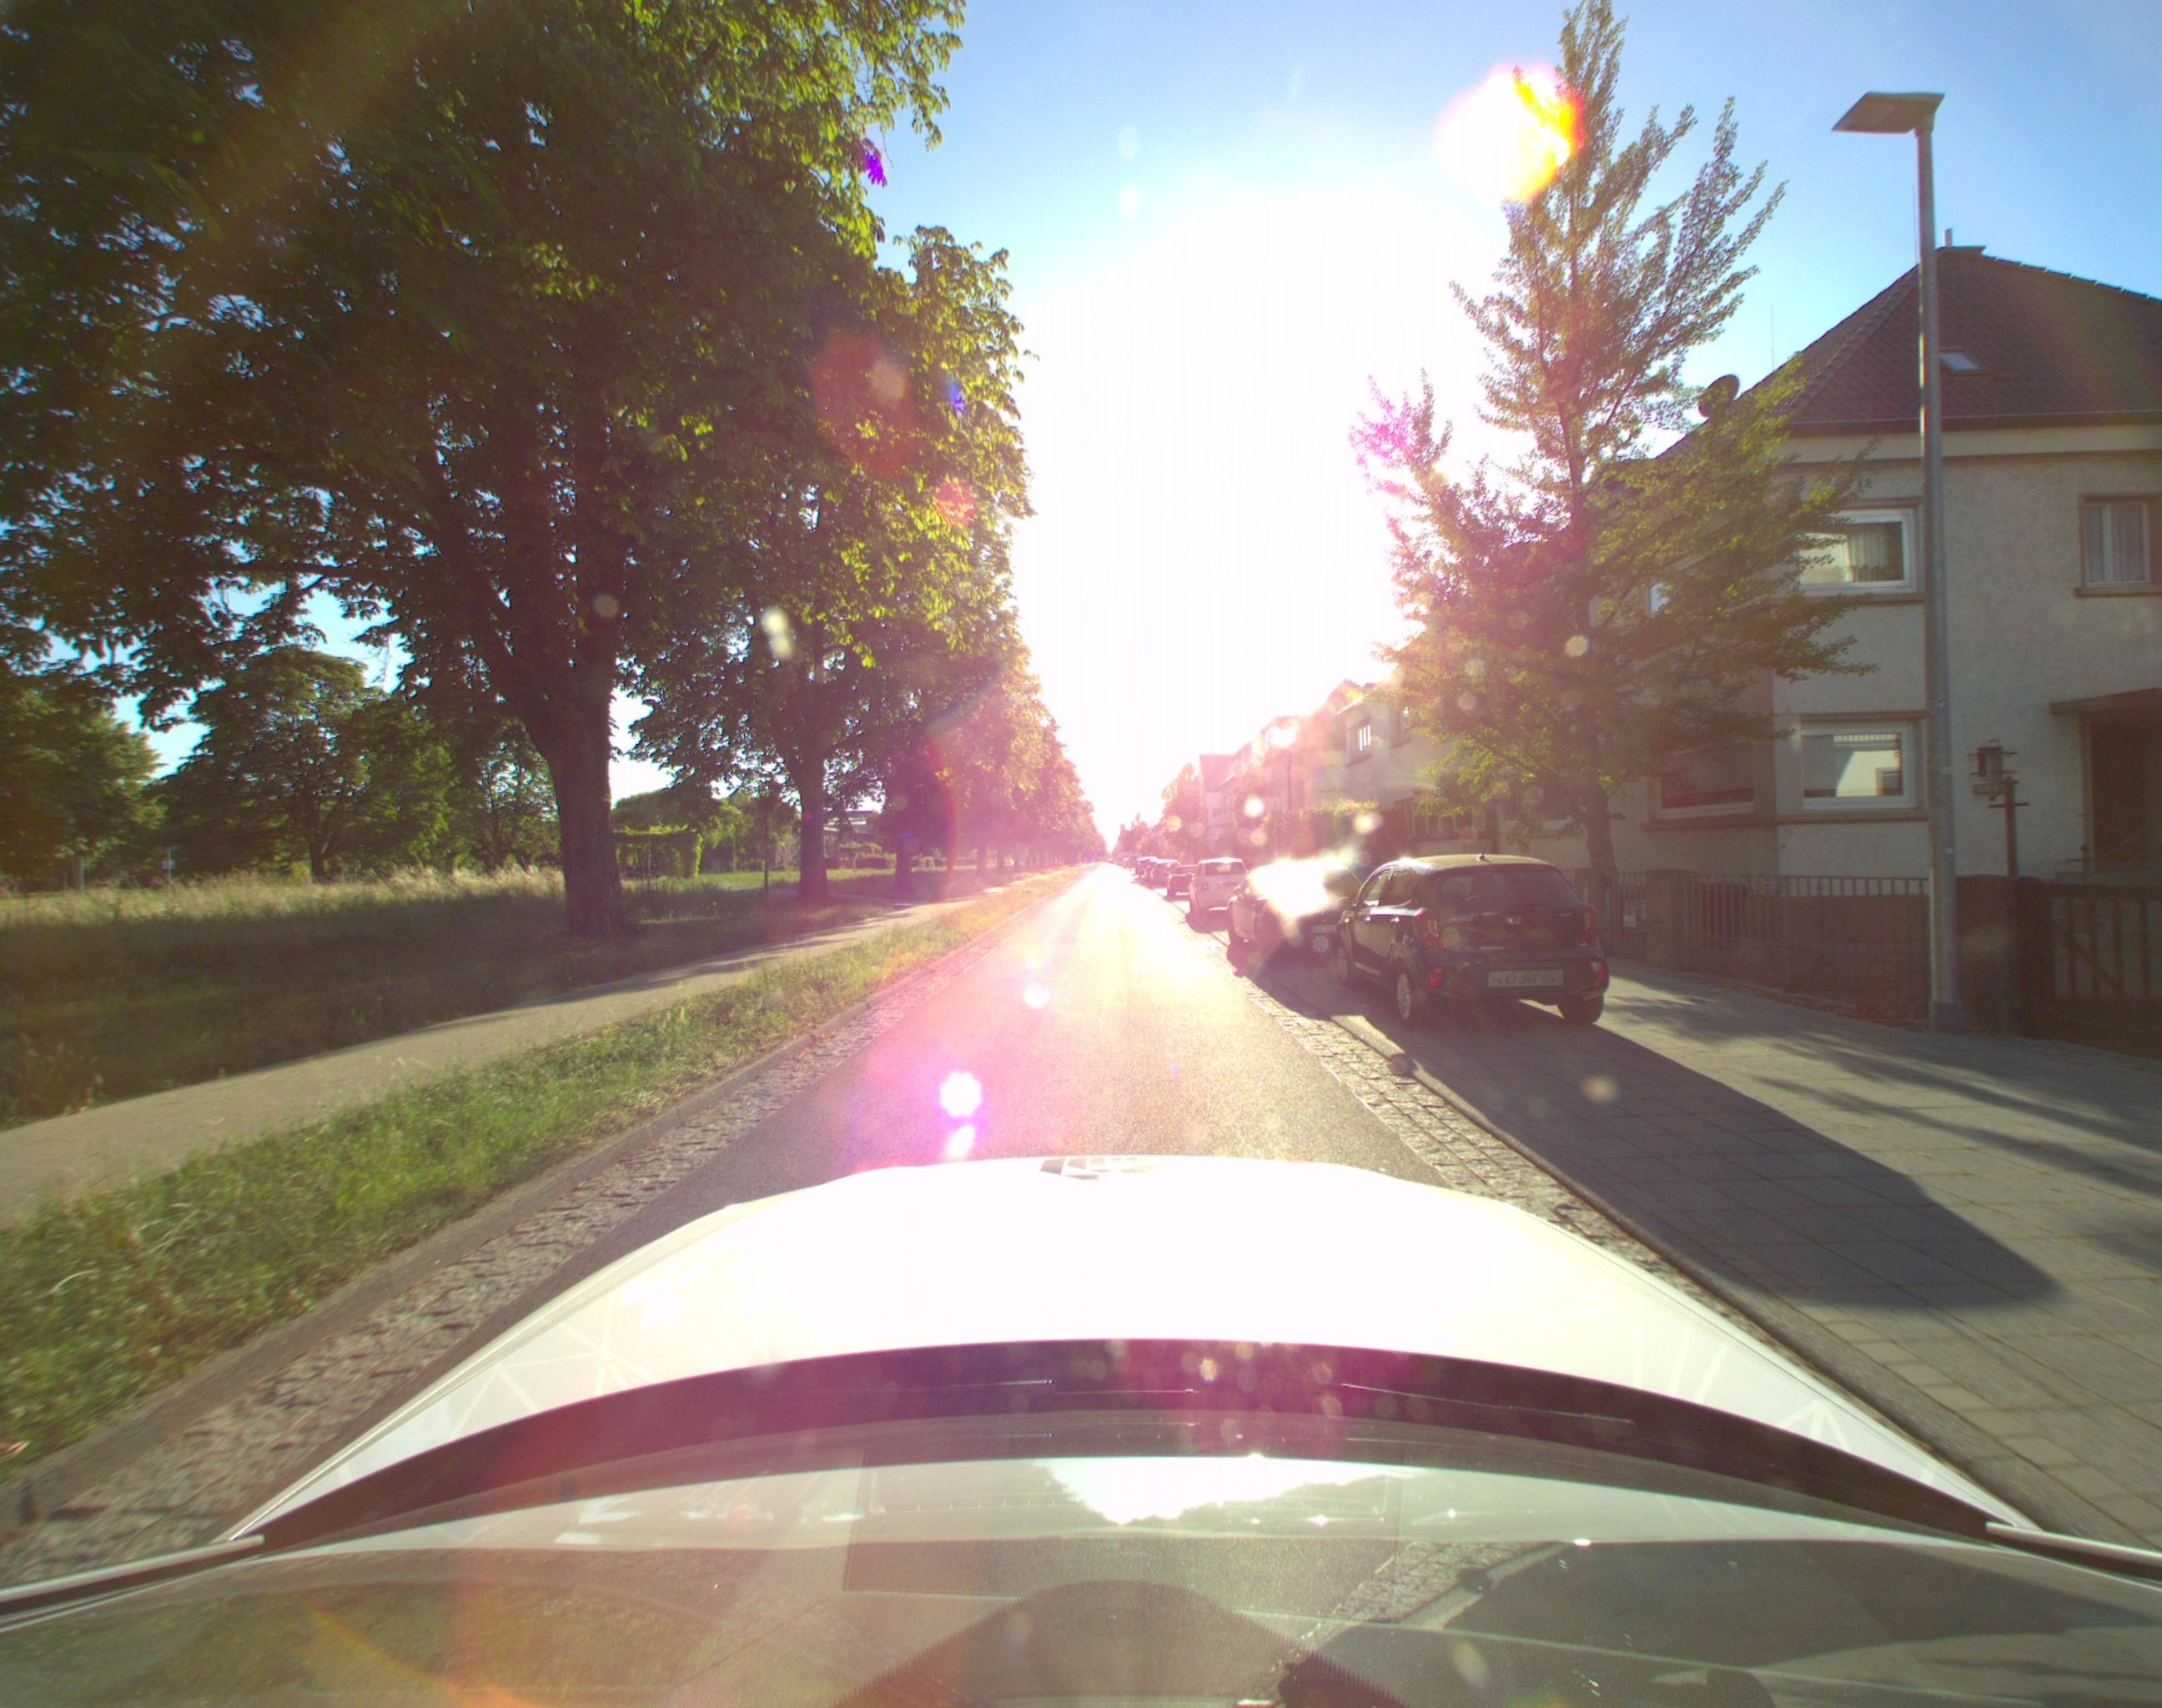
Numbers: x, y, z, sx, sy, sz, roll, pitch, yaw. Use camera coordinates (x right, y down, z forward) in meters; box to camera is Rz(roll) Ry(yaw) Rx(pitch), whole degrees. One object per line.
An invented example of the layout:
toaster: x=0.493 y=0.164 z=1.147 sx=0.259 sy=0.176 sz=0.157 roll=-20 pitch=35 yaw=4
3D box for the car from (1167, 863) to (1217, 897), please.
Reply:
car: x=4.420 y=1.013 z=32.870 sx=1.685 sy=1.248 sz=3.500 roll=-2 pitch=-1 yaw=3

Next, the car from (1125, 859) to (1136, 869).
car: x=7.671 y=1.510 z=127.054 sx=1.645 sy=1.541 sz=3.269 roll=0 pitch=-1 yaw=3

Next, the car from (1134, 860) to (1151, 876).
car: x=5.904 y=1.320 z=78.321 sx=1.587 sy=1.434 sz=3.269 roll=-2 pitch=-1 yaw=3

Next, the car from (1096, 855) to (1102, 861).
car: x=5.147 y=1.217 z=237.092 sx=1.645 sy=1.541 sz=3.268 roll=0 pitch=-1 yaw=2

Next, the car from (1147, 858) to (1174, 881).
car: x=5.169 y=1.015 z=53.238 sx=1.645 sy=1.396 sz=3.269 roll=-2 pitch=-1 yaw=3

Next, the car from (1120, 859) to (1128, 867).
car: x=9.066 y=1.887 z=171.179 sx=1.645 sy=1.541 sz=3.269 roll=0 pitch=-1 yaw=3

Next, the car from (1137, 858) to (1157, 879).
car: x=5.293 y=1.147 z=65.195 sx=1.492 sy=1.567 sz=3.269 roll=-2 pitch=-1 yaw=3

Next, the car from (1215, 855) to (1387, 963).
car: x=3.449 y=0.809 z=13.573 sx=1.730 sy=1.449 sz=4.197 roll=-3 pitch=-1 yaw=1

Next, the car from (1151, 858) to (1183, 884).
car: x=4.885 y=0.951 z=46.571 sx=1.645 sy=1.396 sz=3.269 roll=-2 pitch=-1 yaw=3

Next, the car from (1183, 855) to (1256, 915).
car: x=3.814 y=0.819 z=22.899 sx=1.586 sy=1.510 sz=3.594 roll=-2 pitch=-1 yaw=3

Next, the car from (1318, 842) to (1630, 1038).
car: x=3.650 y=0.711 z=8.341 sx=1.649 sy=1.494 sz=3.722 roll=-3 pitch=-1 yaw=6

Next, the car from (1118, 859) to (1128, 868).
car: x=7.495 y=1.726 z=144.483 sx=1.645 sy=1.541 sz=3.269 roll=0 pitch=-1 yaw=3

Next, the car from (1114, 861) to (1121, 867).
car: x=9.421 y=2.618 z=210.740 sx=1.645 sy=1.541 sz=3.268 roll=0 pitch=-1 yaw=2
